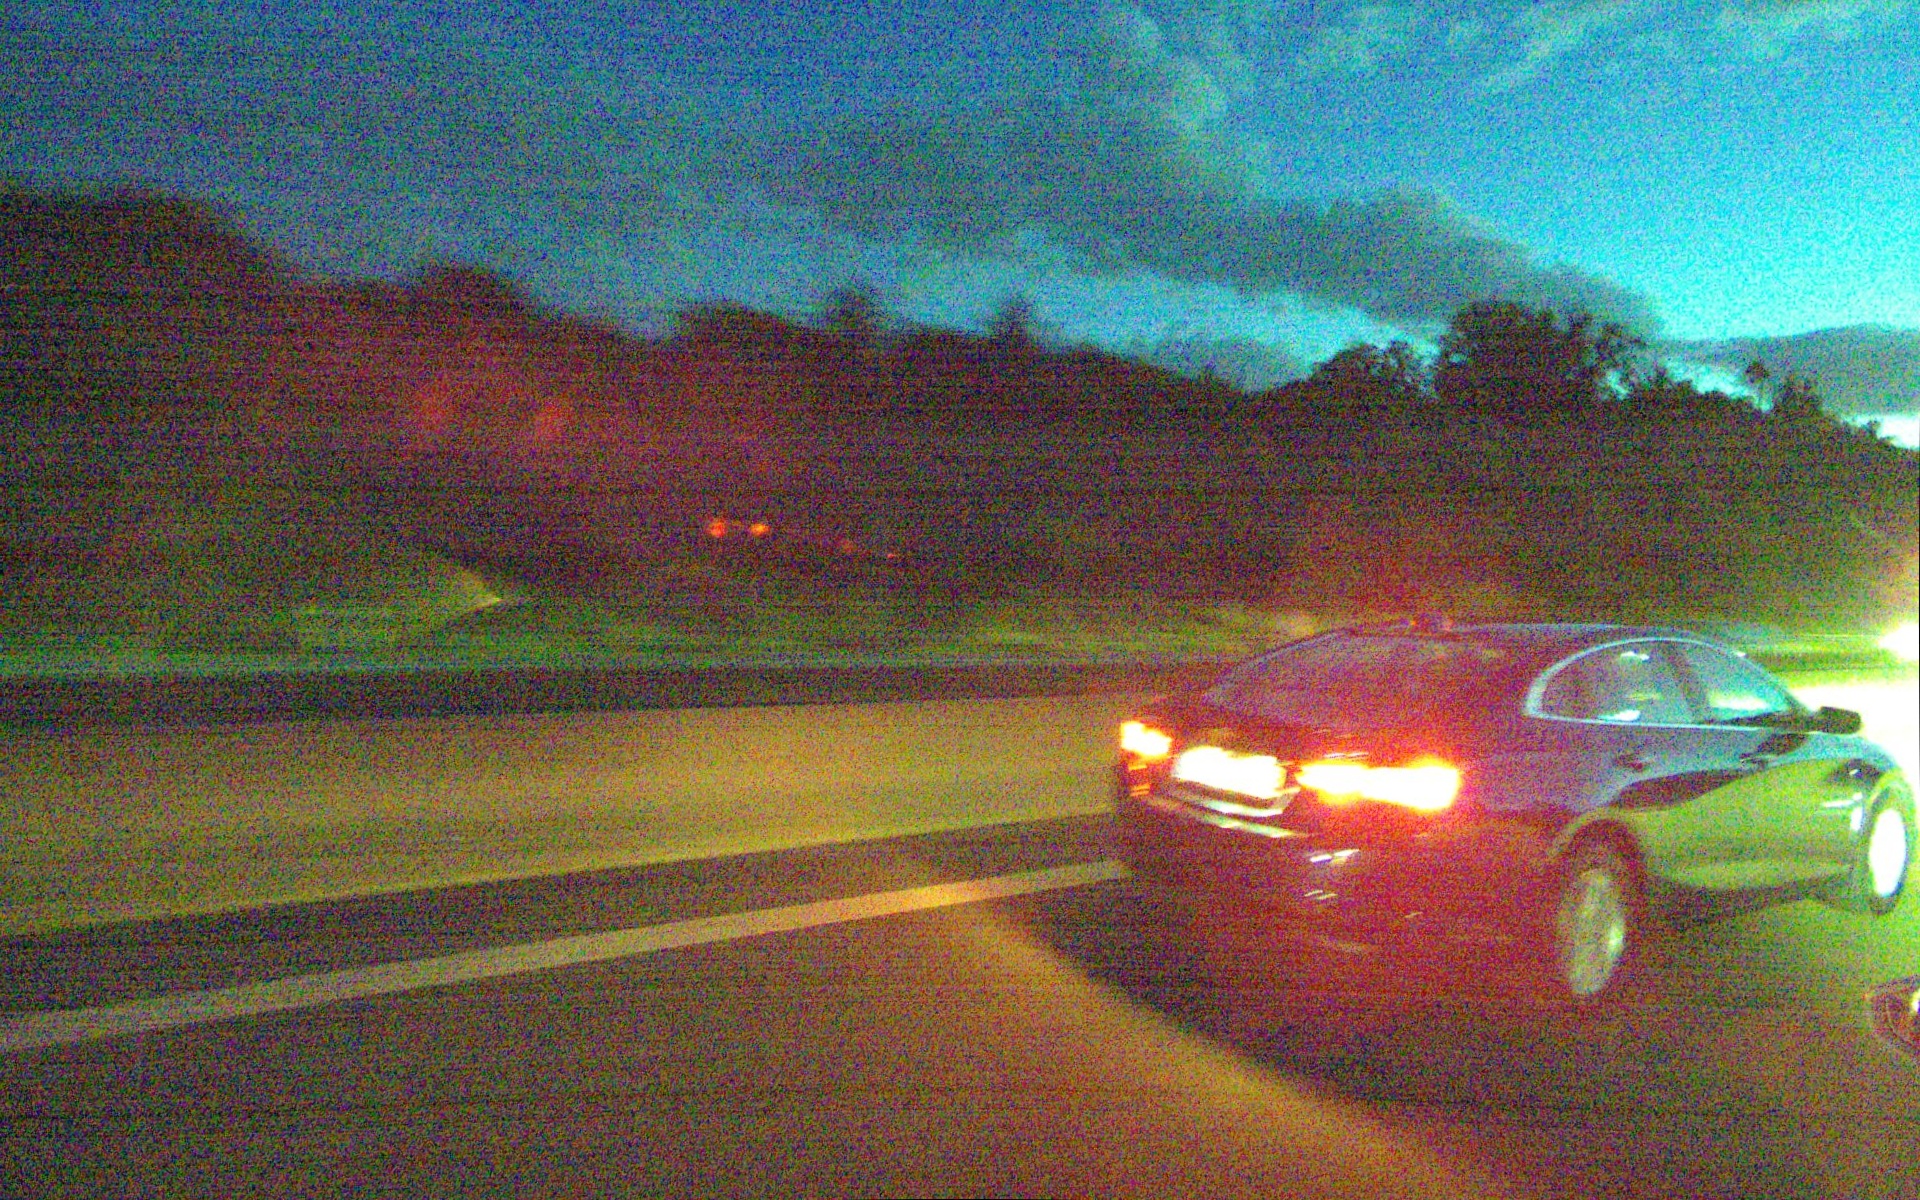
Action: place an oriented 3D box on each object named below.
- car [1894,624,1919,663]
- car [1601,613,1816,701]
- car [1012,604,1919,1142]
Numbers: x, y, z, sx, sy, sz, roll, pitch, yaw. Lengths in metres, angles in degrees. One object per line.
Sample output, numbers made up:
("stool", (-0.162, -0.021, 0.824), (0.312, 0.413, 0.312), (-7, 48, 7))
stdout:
("car", (42.448, 1.884, 43.152), (4.834, 1.619, 2.232), (2, 0, -32))
("car", (17.066, 1.243, 22.861), (4.831, 1.742, 2.233), (2, 0, -31))
("car", (3.150, 0.816, 5.176), (5.582, 1.539, 1.985), (0, 1, -29))
